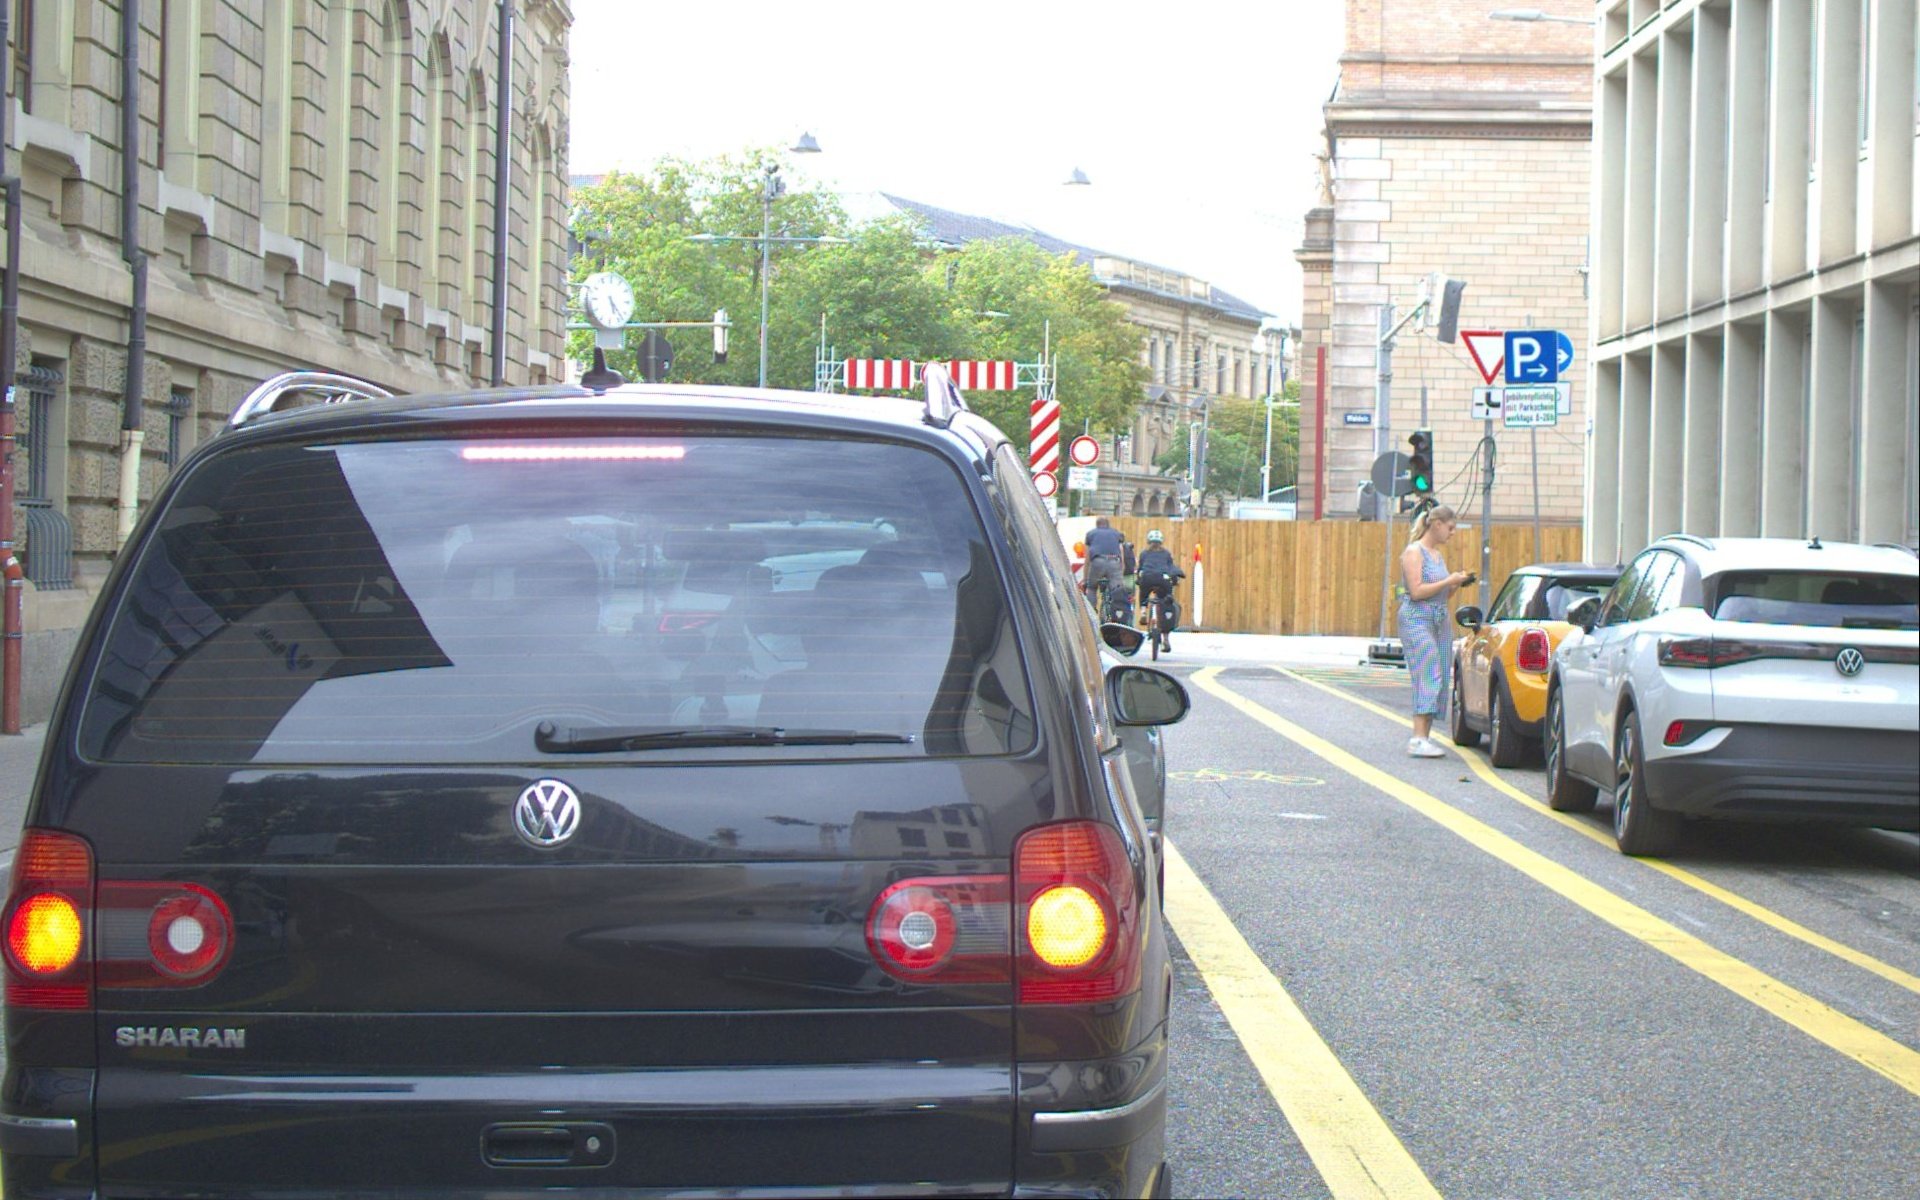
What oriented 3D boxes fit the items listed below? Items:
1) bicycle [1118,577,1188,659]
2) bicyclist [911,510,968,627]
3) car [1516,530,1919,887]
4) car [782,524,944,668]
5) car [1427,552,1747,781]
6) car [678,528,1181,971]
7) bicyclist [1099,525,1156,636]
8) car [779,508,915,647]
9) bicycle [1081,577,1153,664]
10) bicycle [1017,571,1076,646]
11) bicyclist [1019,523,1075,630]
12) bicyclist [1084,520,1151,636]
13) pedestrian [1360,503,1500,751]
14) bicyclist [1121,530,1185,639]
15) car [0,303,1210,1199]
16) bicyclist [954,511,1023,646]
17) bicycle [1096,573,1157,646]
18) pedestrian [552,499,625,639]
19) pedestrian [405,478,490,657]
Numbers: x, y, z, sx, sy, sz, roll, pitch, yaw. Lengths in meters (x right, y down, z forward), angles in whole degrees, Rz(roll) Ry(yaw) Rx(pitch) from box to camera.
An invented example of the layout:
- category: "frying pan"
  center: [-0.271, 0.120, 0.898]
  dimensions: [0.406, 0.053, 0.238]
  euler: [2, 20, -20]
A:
- category: "bicycle"
  center: [2.449, 0.222, 43.855]
  dimensions: [0.735, 1.005, 2.069]
  euler: [1, 1, -1]
- category: "bicyclist"
  center: [-0.291, -0.435, 47.623]
  dimensions: [0.735, 1.606, 0.695]
  euler: [1, 0, -3]
- category: "car"
  center: [4.259, 0.505, 18.527]
  dimensions: [1.860, 1.599, 4.512]
  euler: [4, 1, 2]
- category: "car"
  center: [-1.105, -0.069, 40.273]
  dimensions: [1.773, 1.580, 4.000]
  euler: [1, 1, -1]
- category: "car"
  center: [4.493, 0.426, 25.150]
  dimensions: [1.680, 1.430, 3.886]
  euler: [4, 1, 2]
- category: "car"
  center: [-0.025, 0.486, 13.732]
  dimensions: [1.678, 1.464, 4.103]
  euler: [1, 1, 2]
- category: "bicyclist"
  center: [2.372, -0.282, 48.718]
  dimensions: [0.735, 1.550, 0.895]
  euler: [1, 0, -1]
- category: "car"
  center: [-1.591, -0.318, 47.275]
  dimensions: [1.734, 1.784, 4.104]
  euler: [1, 1, -3]
- category: "bicycle"
  center: [1.887, 0.239, 41.568]
  dimensions: [0.735, 1.005, 2.069]
  euler: [1, 1, -1]
- category: "bicycle"
  center: [1.191, 0.110, 47.853]
  dimensions: [0.735, 1.005, 2.069]
  euler: [1, 1, -1]
- category: "bicyclist"
  center: [1.204, -0.333, 47.855]
  dimensions: [0.735, 1.465, 0.809]
  euler: [1, 0, -1]
- category: "bicyclist"
  center: [1.901, -0.267, 41.567]
  dimensions: [0.735, 1.372, 0.829]
  euler: [1, 0, -1]
- category: "pedestrian"
  center: [3.383, 0.188, 24.750]
  dimensions: [0.703, 1.757, 0.700]
  euler: [1, 0, -27]
- category: "bicyclist"
  center: [2.458, -0.203, 43.835]
  dimensions: [0.735, 1.371, 0.832]
  euler: [1, 0, -1]
- category: "car"
  center: [-0.504, 0.490, 6.618]
  dimensions: [1.790, 1.784, 4.103]
  euler: [1, 1, 2]
- category: "bicyclist"
  center: [0.314, -0.240, 38.143]
  dimensions: [0.735, 1.473, 0.884]
  euler: [1, 0, -1]
- category: "bicycle"
  center: [2.357, 0.126, 48.825]
  dimensions: [0.735, 1.005, 2.069]
  euler: [1, 1, -1]
- category: "pedestrian"
  center: [-4.965, -0.416, 45.988]
  dimensions: [0.792, 1.813, 1.048]
  euler: [3, 0, -1]
- category: "pedestrian"
  center: [-5.358, -0.340, 35.976]
  dimensions: [0.664, 1.813, 1.048]
  euler: [3, 0, -1]
